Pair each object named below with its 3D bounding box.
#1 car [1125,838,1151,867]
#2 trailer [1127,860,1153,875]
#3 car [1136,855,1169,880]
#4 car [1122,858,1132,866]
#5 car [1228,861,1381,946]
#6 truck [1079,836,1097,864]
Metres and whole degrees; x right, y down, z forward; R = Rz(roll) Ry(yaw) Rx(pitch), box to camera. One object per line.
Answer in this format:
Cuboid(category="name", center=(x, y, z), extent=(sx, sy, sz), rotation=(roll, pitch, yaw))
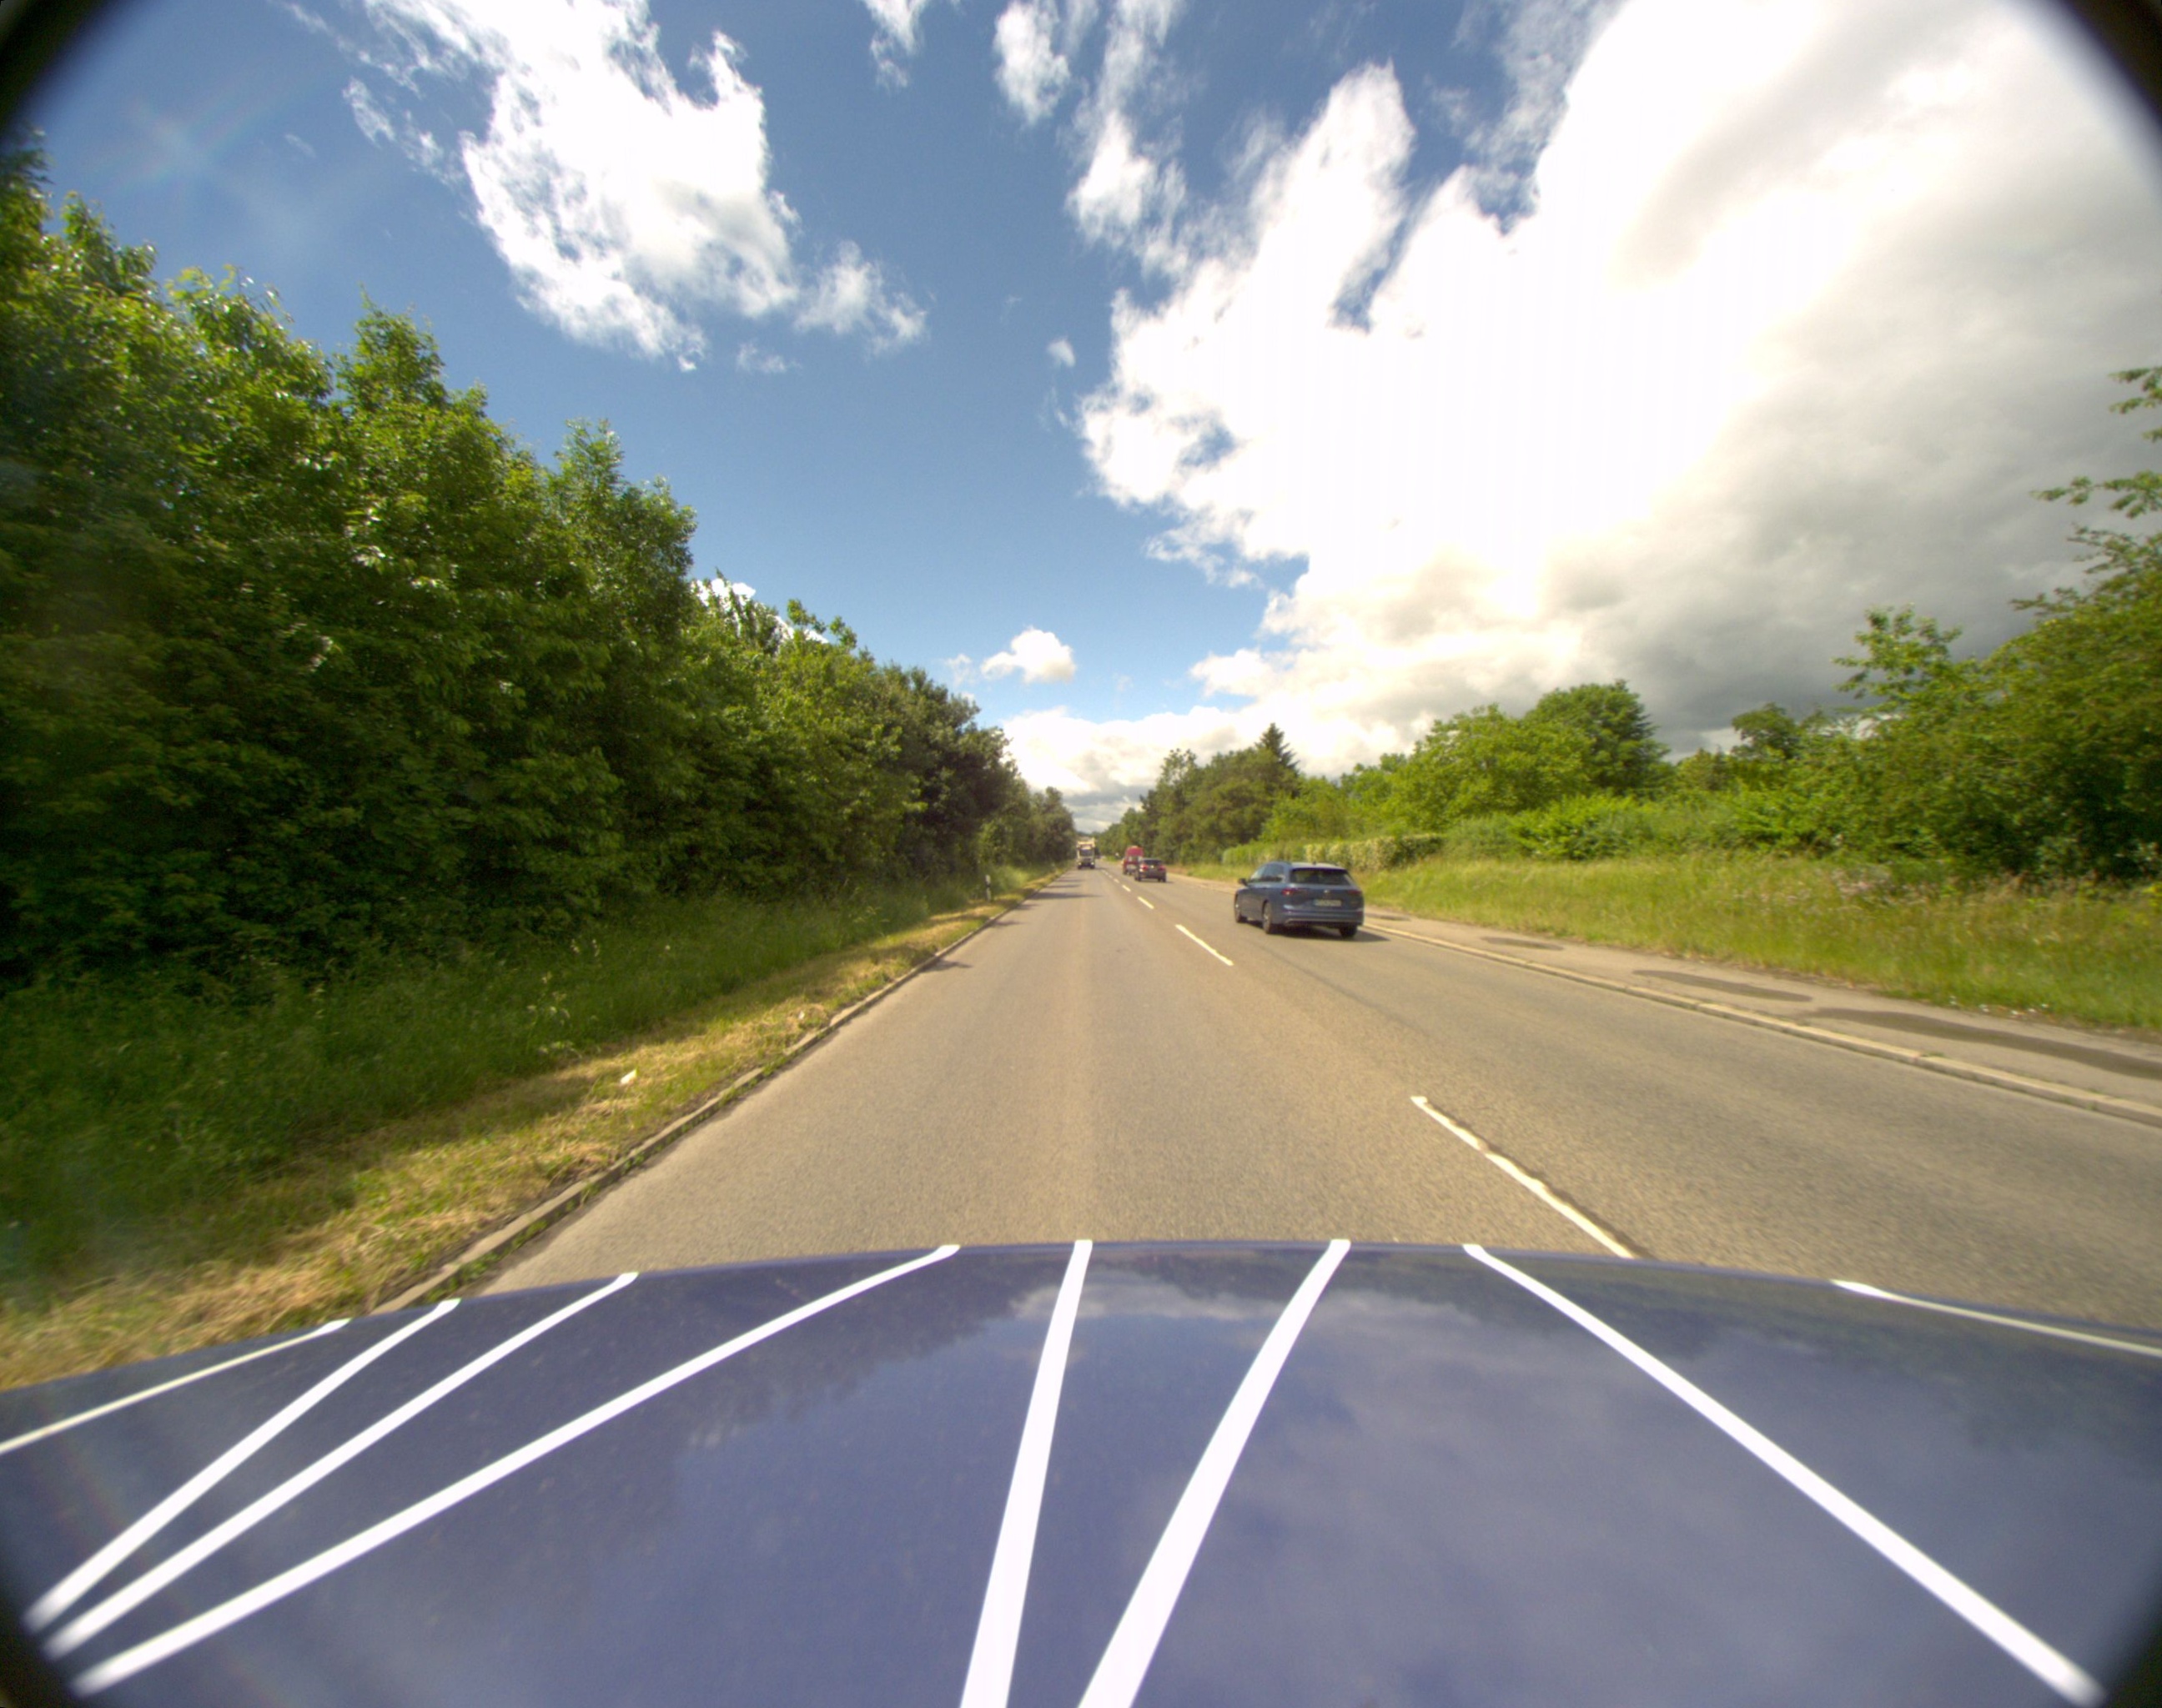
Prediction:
Cuboid(category="car", center=(5.152, -0.123, 69.628), extent=(1.974, 2.535, 4.725), rotation=(2, 0, 0))
Cuboid(category="trailer", center=(5.028, 1.149, 65.264), extent=(1.896, 1.193, 3.917), rotation=(2, 0, 0))
Cuboid(category="car", center=(4.575, 0.826, 49.037), extent=(1.720, 1.462, 4.000), rotation=(2, 0, 0))
Cuboid(category="car", center=(8.604, 1.485, 142.458), extent=(1.772, 1.399, 4.266), rotation=(-2, 0, 3))
Cuboid(category="car", center=(4.400, 0.907, 15.742), extent=(1.789, 1.438, 4.452), rotation=(1, 0, -1))
Cuboid(category="truck", center=(1.032, -0.570, 108.431), extent=(2.306, 3.790, 8.183), rotation=(-2, 0, 0))
